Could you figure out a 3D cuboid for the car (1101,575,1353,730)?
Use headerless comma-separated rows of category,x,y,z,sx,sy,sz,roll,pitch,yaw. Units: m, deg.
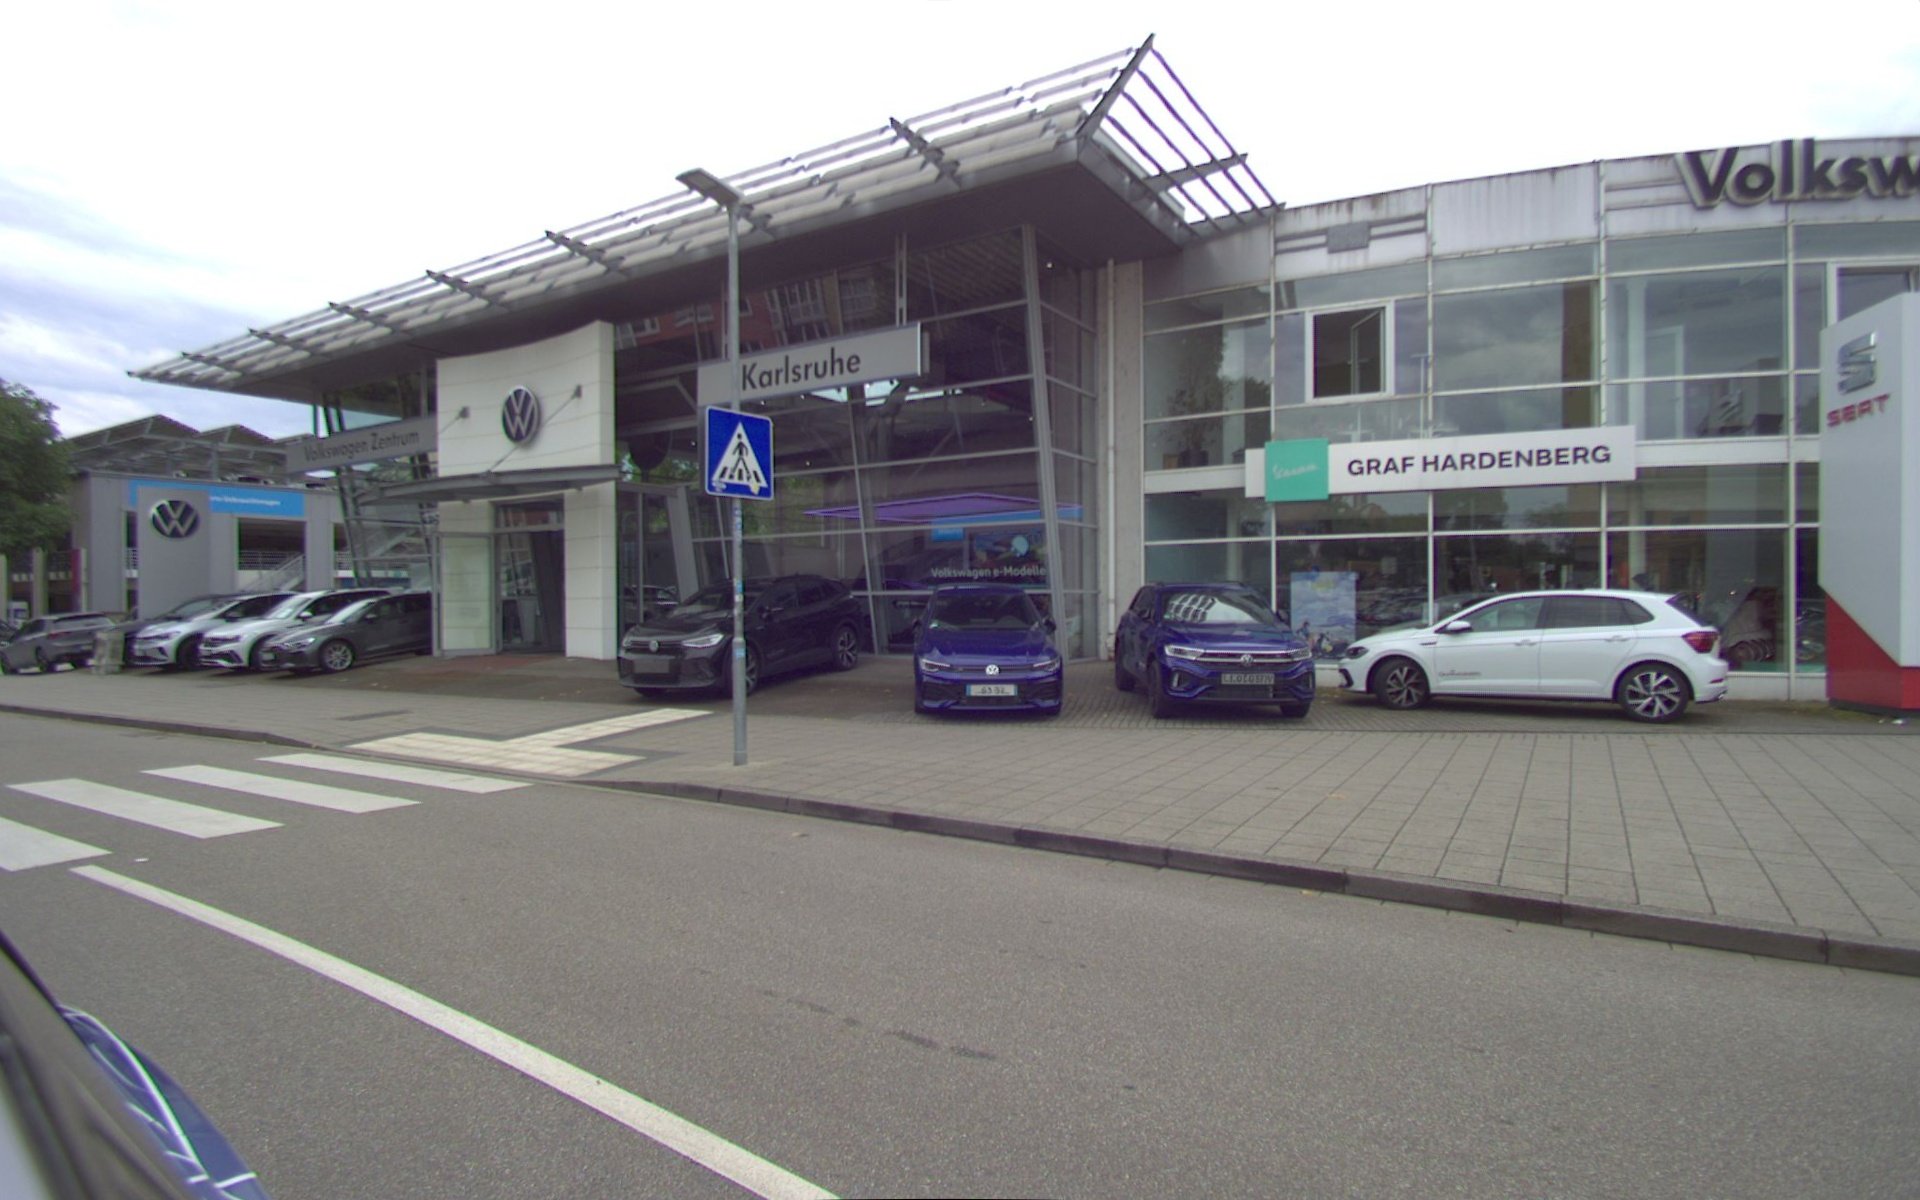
car,3.043,0.529,12.513,1.874,1.574,4.222,-1,0,-1

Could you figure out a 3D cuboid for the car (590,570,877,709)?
car,-3.225,0.477,15.447,1.851,1.644,4.471,-2,2,26

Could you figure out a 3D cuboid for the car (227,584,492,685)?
car,-12.576,0.651,21.511,1.891,1.709,4.430,-2,3,31

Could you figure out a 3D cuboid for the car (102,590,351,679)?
car,-17.529,0.755,24.432,1.864,1.712,4.428,-2,3,32

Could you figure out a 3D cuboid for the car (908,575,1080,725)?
car,0.262,0.492,13.157,1.831,1.515,4.343,-1,3,-3

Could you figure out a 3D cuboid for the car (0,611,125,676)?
car,-24.468,1.148,27.140,3.998,1.575,1.901,-2,0,30

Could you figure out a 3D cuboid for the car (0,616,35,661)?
car,-35.732,1.397,36.753,4.457,1.559,1.880,-1,1,30

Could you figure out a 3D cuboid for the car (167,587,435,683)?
car,-14.810,0.714,23.068,1.855,1.712,4.726,-2,3,31

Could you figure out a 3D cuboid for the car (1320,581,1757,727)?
car,6.719,0.581,12.092,4.252,1.463,1.762,-1,-1,35
